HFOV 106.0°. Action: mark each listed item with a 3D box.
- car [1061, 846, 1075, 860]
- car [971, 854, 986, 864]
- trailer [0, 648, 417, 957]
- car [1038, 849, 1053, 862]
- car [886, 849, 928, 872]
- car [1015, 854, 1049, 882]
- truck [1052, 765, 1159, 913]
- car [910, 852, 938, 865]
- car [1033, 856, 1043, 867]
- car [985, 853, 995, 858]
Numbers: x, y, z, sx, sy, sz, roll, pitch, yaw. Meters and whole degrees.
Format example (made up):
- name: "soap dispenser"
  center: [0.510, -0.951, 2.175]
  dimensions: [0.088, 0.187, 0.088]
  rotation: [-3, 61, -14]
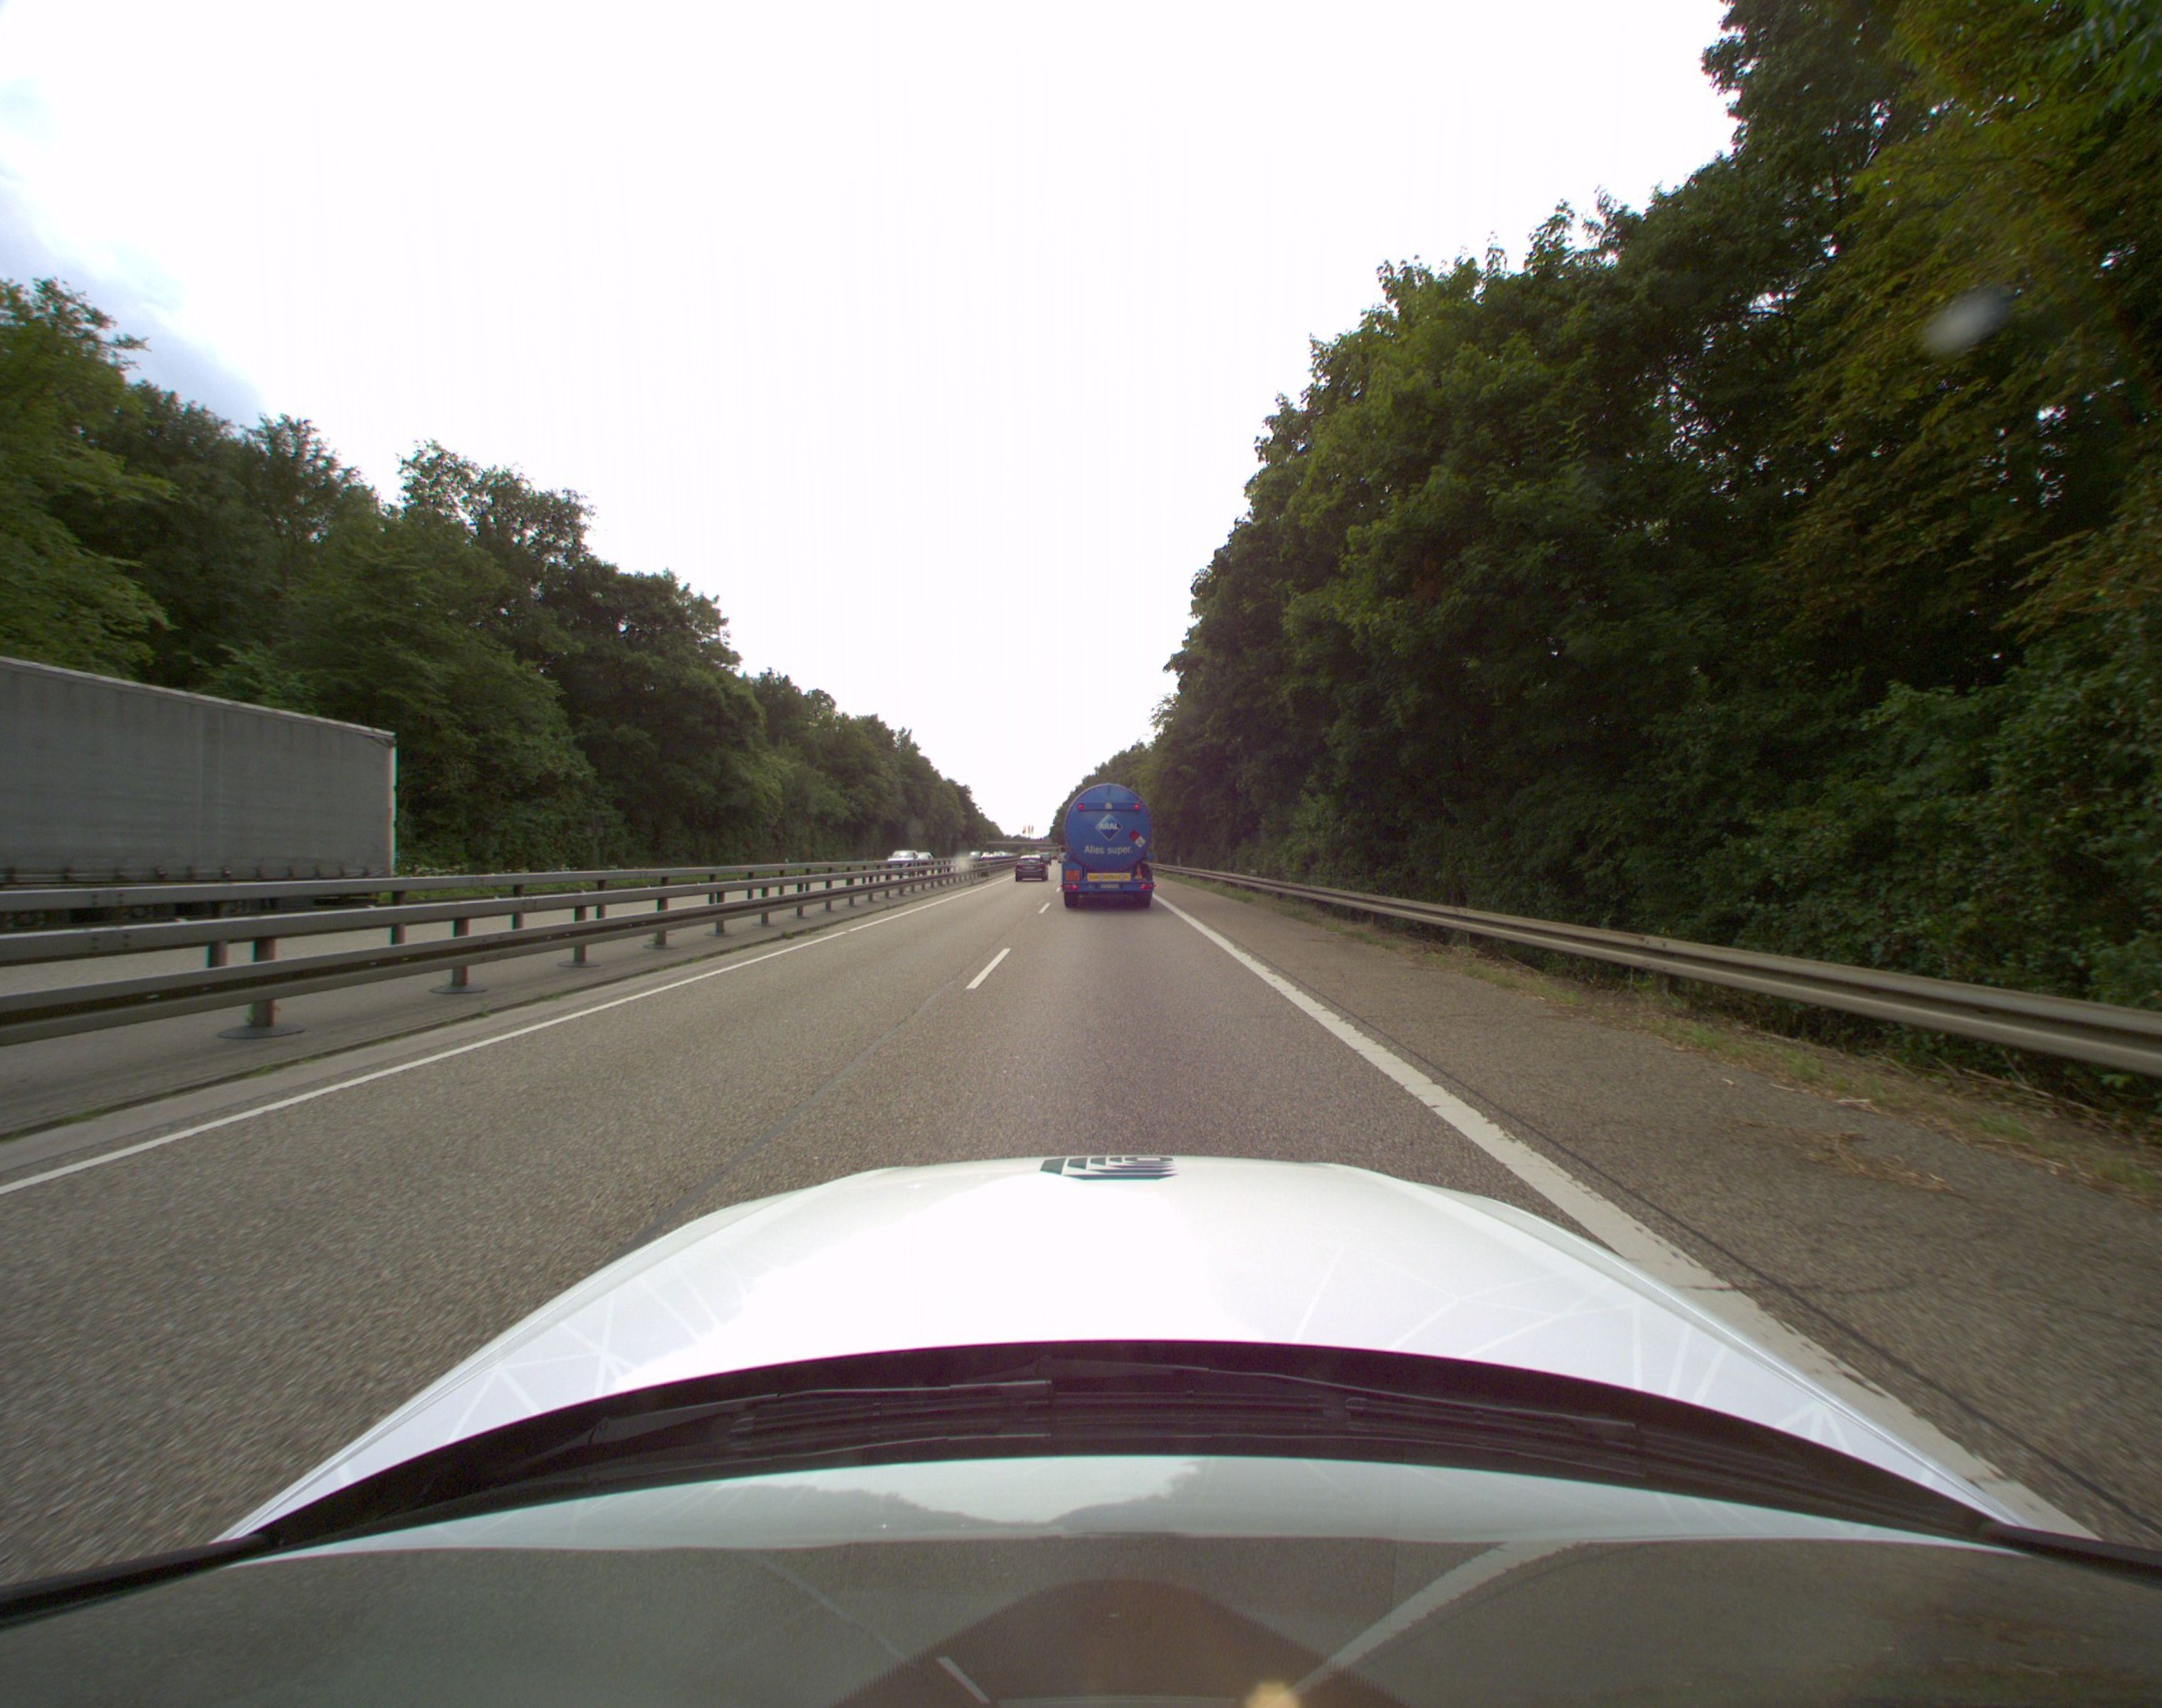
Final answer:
- name: "car"
  center: [-2.088, -0.140, 128.286]
  dimensions: [1.989, 2.244, 3.995]
  rotation: [-1, 0, -3]
- name: "car"
  center: [-12.850, 0.654, 102.268]
  dimensions: [1.739, 1.189, 4.283]
  rotation: [-1, 0, -5]
- name: "trailer"
  center: [-15.490, -0.654, 10.780]
  dimensions: [2.654, 4.046, 12.873]
  rotation: [-1, 0, 1]
- name: "car"
  center: [-4.701, 0.218, 107.082]
  dimensions: [1.822, 1.609, 4.162]
  rotation: [-1, 0, -4]
- name: "car"
  center: [-11.077, 0.384, 52.095]
  dimensions: [1.637, 1.389, 4.291]
  rotation: [-1, 0, 1]
- name: "car"
  center: [-2.763, 0.777, 46.917]
  dimensions: [1.821, 1.458, 4.636]
  rotation: [-1, 0, -2]
- name: "truck"
  center: [0.813, -0.403, 25.266]
  dimensions: [2.744, 3.846, 7.693]
  rotation: [-1, 0, 2]
- name: "car"
  center: [-15.108, 0.461, 78.464]
  dimensions: [1.736, 1.189, 4.291]
  rotation: [-1, 0, 1]
- name: "car"
  center: [-8.415, 1.403, 159.380]
  dimensions: [1.989, 2.013, 3.995]
  rotation: [-1, 0, -3]
- name: "car"
  center: [-20.928, 0.275, 187.668]
  dimensions: [1.737, 1.189, 4.289]
  rotation: [-1, 0, -1]
